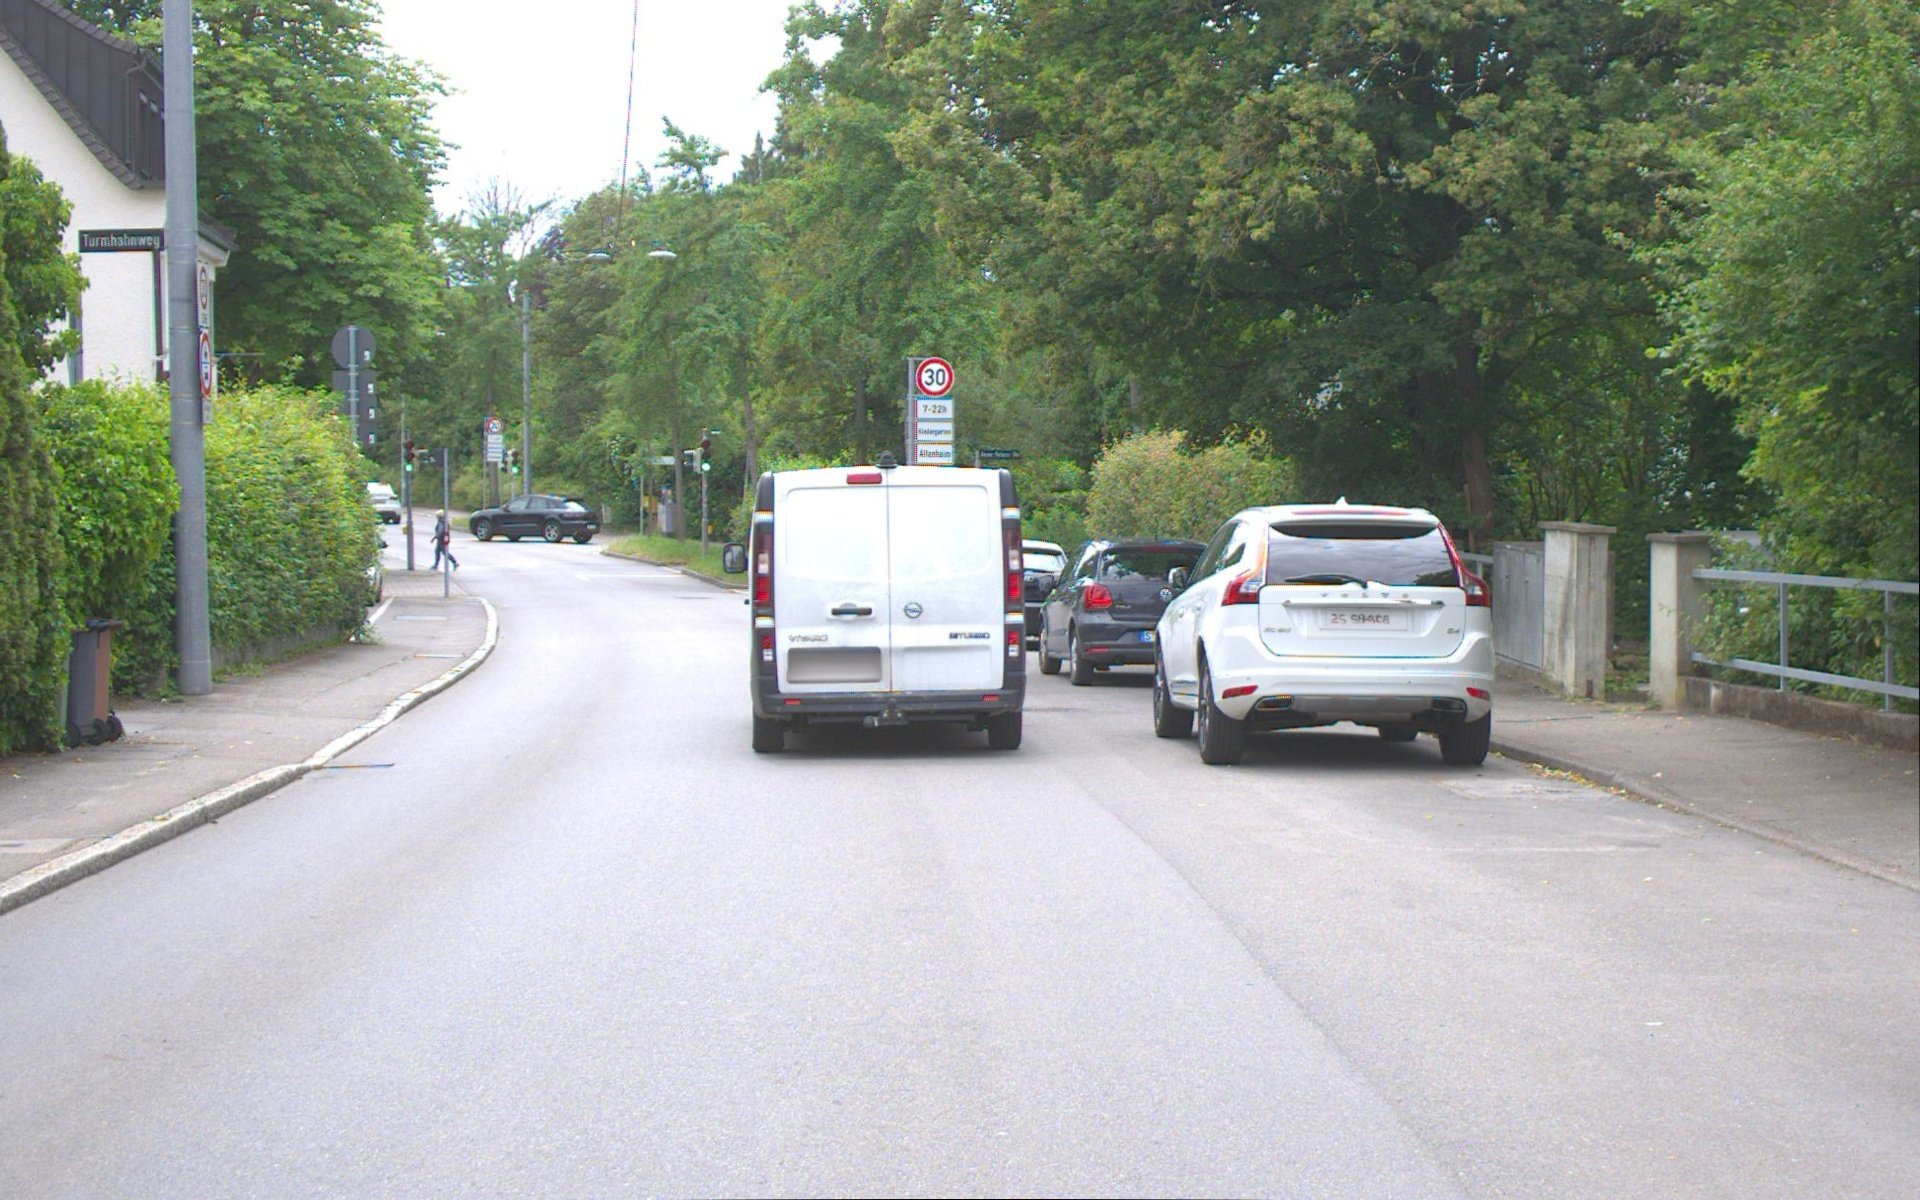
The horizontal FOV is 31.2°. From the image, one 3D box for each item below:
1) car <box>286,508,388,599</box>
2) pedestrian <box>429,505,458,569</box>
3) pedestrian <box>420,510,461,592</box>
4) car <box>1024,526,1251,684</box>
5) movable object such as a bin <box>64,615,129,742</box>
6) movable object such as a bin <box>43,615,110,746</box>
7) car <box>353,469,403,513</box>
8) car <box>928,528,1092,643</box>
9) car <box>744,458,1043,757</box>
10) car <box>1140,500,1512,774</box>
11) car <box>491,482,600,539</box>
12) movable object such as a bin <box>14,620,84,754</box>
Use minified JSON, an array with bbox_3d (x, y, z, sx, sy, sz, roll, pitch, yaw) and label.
[{"bbox_3d":[-11.309,-0.862,62.562,1.588,1.533,2.924,2,2,-7],"label":"car"},{"bbox_3d":[-13.234,-1.612,88.079,0.697,1.610,0.715,0,3,-7],"label":"pedestrian"},{"bbox_3d":[-10.223,-0.964,67.696,0.706,1.604,0.576,-1,1,-2],"label":"pedestrian"},{"bbox_3d":[1.723,0.009,34.548,1.709,1.482,3.791,0,1,-6],"label":"car"},{"bbox_3d":[-6.235,0.560,24.841,0.336,0.890,0.476,1,1,0],"label":"movable object such as a bin"},{"bbox_3d":[-6.205,0.561,24.166,0.336,0.890,0.476,1,1,0],"label":"movable object such as a bin"},{"bbox_3d":[-23.322,-4.369,137.907,1.825,1.722,4.001,0,2,-7],"label":"car"},{"bbox_3d":[0.622,-0.216,45.623,1.709,1.408,3.791,2,1,-6],"label":"car"},{"bbox_3d":[-0.575,-0.029,24.801,1.929,1.957,4.403,0,2,-4],"label":"car"},{"bbox_3d":[2.372,0.182,23.377,1.865,1.679,4.351,0,1,-3],"label":"car"},{"bbox_3d":[-13.917,-3.005,115.257,1.897,1.853,4.404,-1,2,-33],"label":"car"},{"bbox_3d":[-6.240,0.591,23.554,0.336,0.890,0.476,1,1,0],"label":"movable object such as a bin"}]
